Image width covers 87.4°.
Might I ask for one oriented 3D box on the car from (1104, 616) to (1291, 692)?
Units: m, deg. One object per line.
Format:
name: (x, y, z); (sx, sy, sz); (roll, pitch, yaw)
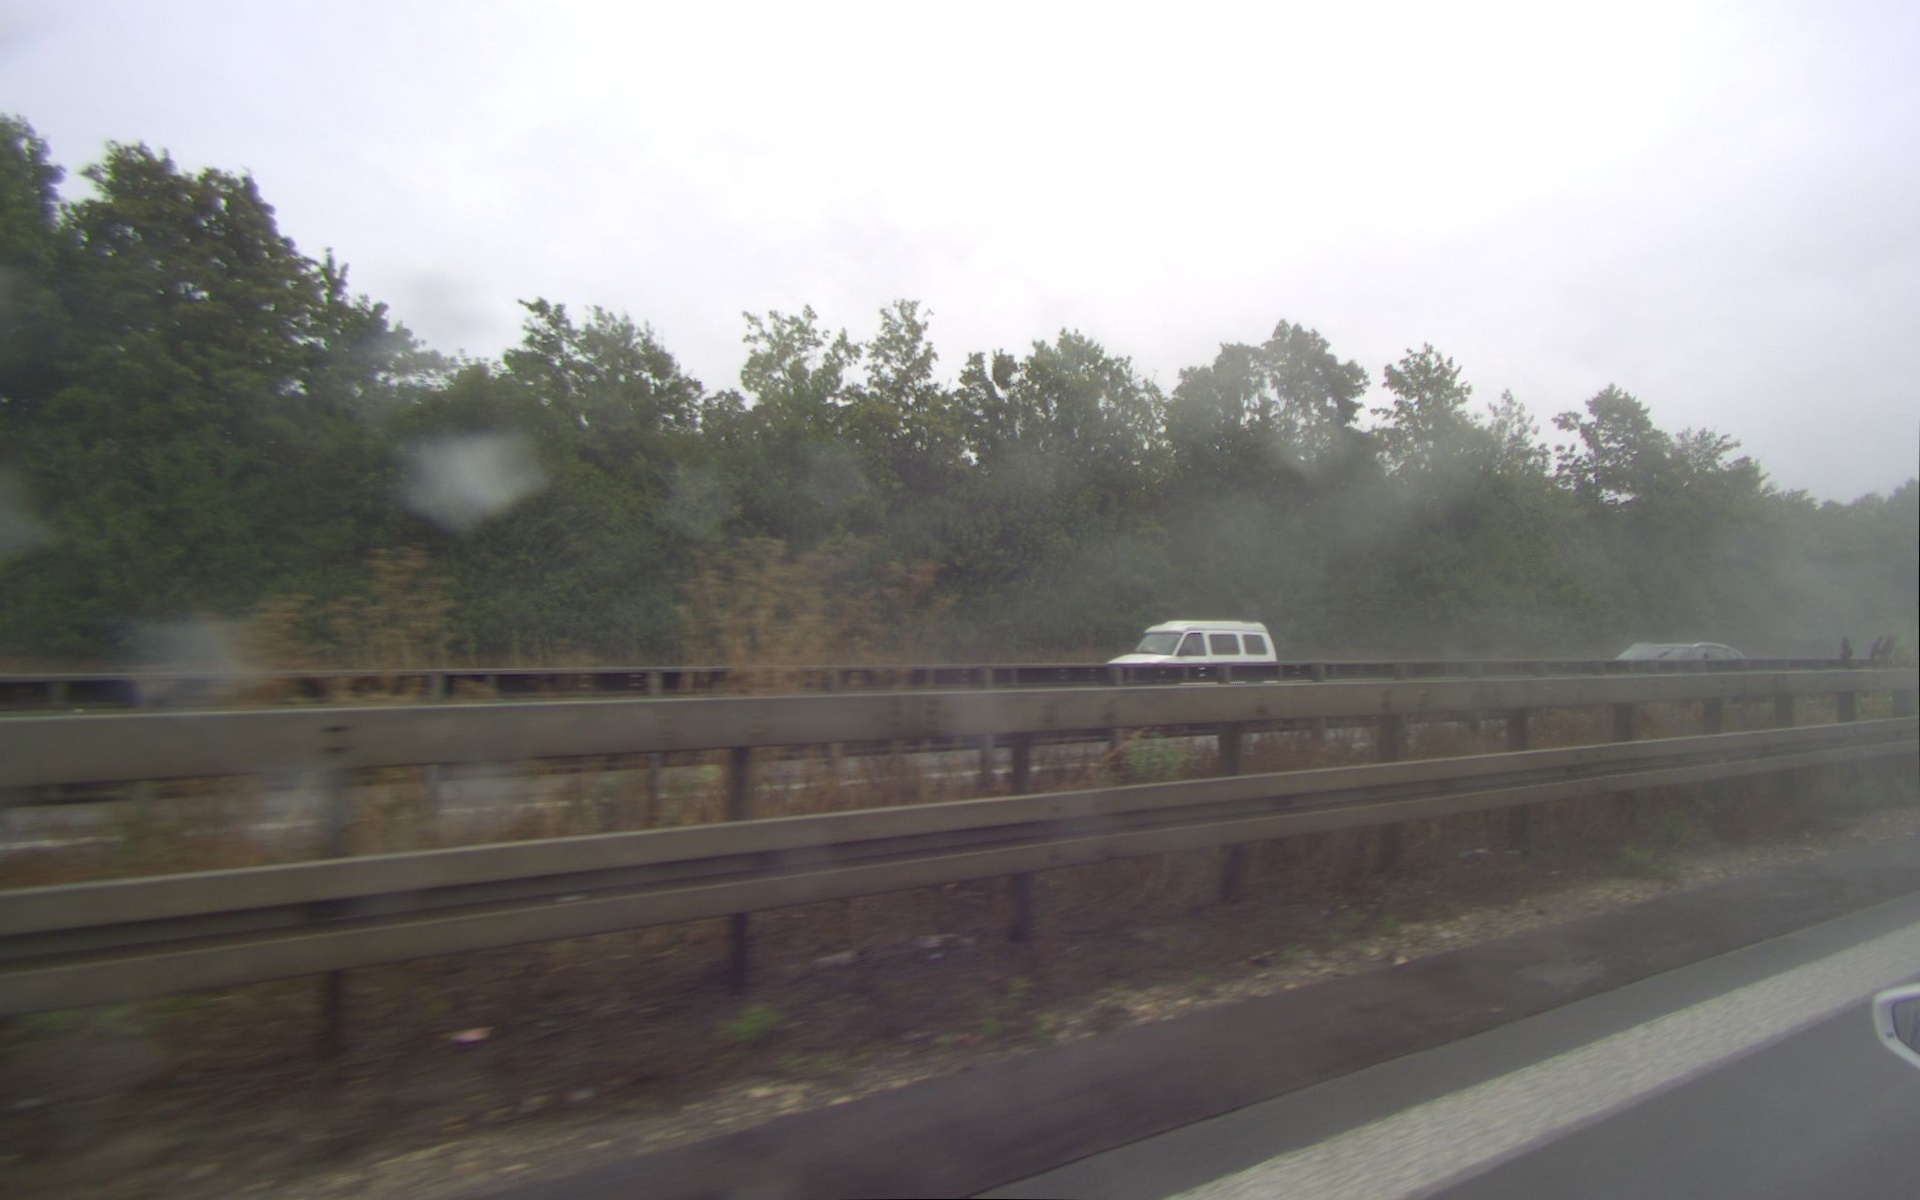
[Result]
car: (5.902, 1.331, 24.752); (4.614, 1.685, 1.724); (3, -1, -33)

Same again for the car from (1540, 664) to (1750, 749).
car: (14.207, 2.119, 20.775); (4.470, 1.470, 1.982); (3, -1, -33)
